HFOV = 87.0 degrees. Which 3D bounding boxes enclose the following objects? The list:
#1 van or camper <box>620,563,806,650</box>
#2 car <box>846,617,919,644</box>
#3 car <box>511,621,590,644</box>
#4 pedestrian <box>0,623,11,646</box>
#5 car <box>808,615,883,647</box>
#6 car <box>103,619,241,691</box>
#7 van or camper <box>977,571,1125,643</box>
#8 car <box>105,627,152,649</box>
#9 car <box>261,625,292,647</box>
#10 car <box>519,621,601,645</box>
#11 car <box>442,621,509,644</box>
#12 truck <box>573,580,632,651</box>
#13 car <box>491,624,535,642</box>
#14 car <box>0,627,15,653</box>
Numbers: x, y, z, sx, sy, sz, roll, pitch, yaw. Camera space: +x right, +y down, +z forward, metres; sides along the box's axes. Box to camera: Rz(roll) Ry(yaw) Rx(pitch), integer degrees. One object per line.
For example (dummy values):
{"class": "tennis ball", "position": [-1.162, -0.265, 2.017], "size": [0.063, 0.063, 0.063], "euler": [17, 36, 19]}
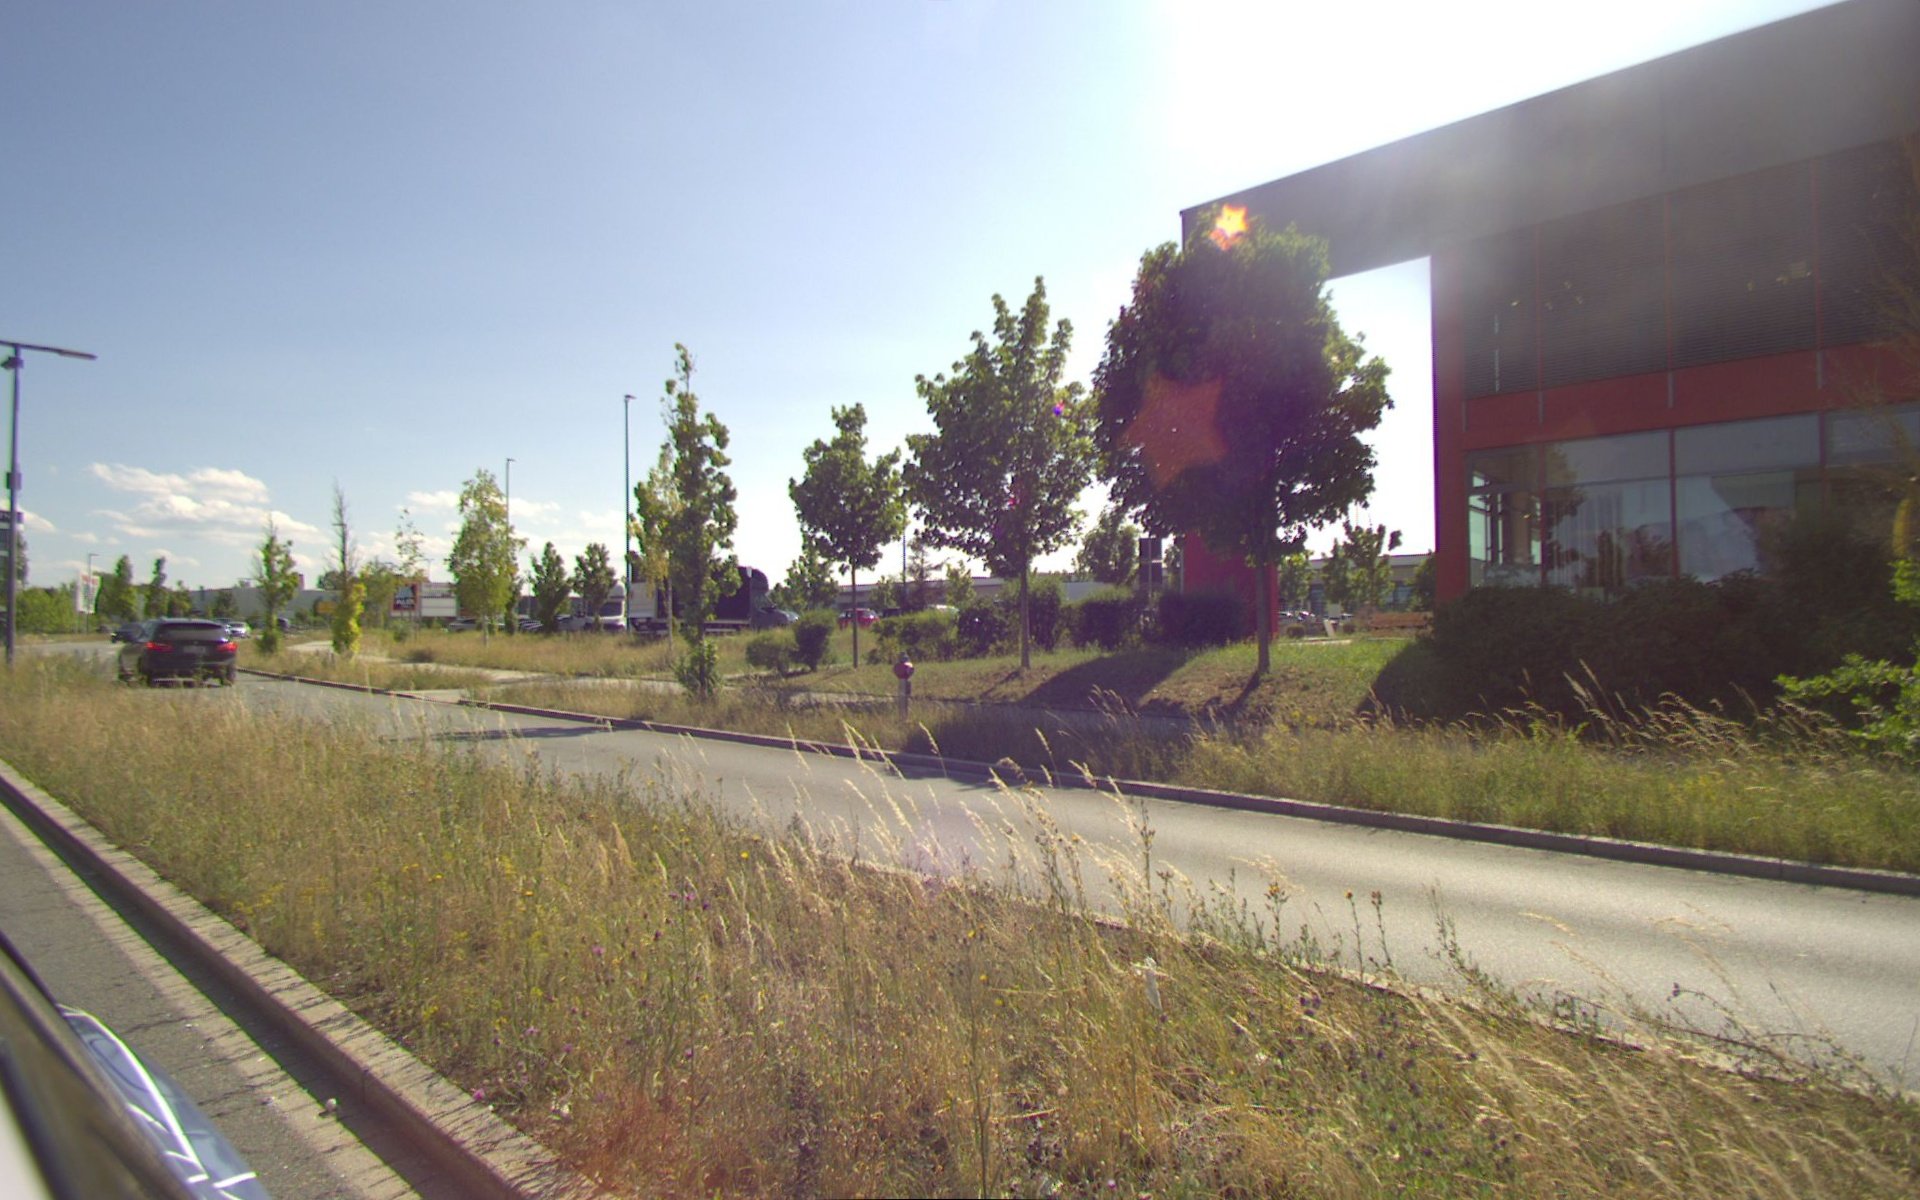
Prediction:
{"class": "van or camper", "position": [-10.656, 0.334, 44.286], "size": [7.600, 3.495, 2.558], "euler": [1, -2, -43]}
{"class": "car", "position": [-4.630, 1.810, 60.241], "size": [4.379, 1.574, 1.813], "euler": [-2, -2, 41]}
{"class": "car", "position": [-26.740, 2.088, 66.155], "size": [4.513, 1.469, 1.843], "euler": [1, -2, -33]}
{"class": "pedestrian", "position": [-62.843, 2.280, 66.285], "size": [0.781, 1.481, 0.952], "euler": [0, -2, -27]}
{"class": "car", "position": [-6.584, 1.757, 58.116], "size": [4.379, 1.787, 1.813], "euler": [-2, -2, 41]}
{"class": "car", "position": [-18.717, 1.290, 23.977], "size": [4.238, 1.555, 1.740], "euler": [-2, -4, 41]}
{"class": "van or camper", "position": [4.351, 0.424, 49.449], "size": [7.234, 3.296, 2.403], "euler": [-2, -2, 42]}
{"class": "car", "position": [-60.118, 2.718, 73.215], "size": [1.756, 1.505, 4.013], "euler": [0, -2, -26]}
{"class": "car", "position": [-58.938, 3.117, 87.335], "size": [1.924, 1.808, 4.439], "euler": [2, -3, -31]}
{"class": "car", "position": [-24.303, 1.987, 61.510], "size": [4.363, 1.394, 1.981], "euler": [1, -2, -33]}
{"class": "car", "position": [-38.052, 2.521, 79.673], "size": [4.694, 1.656, 2.122], "euler": [0, -3, -24]}
{"class": "truck", "position": [-18.939, 0.871, 53.978], "size": [2.285, 3.491, 7.514], "euler": [0, -2, -14]}
{"class": "car", "position": [-47.209, 3.513, 106.892], "size": [4.086, 1.875, 1.938], "euler": [1, -2, -29]}
{"class": "car", "position": [-66.501, 2.744, 67.764], "size": [4.389, 1.692, 1.908], "euler": [0, -3, -29]}
